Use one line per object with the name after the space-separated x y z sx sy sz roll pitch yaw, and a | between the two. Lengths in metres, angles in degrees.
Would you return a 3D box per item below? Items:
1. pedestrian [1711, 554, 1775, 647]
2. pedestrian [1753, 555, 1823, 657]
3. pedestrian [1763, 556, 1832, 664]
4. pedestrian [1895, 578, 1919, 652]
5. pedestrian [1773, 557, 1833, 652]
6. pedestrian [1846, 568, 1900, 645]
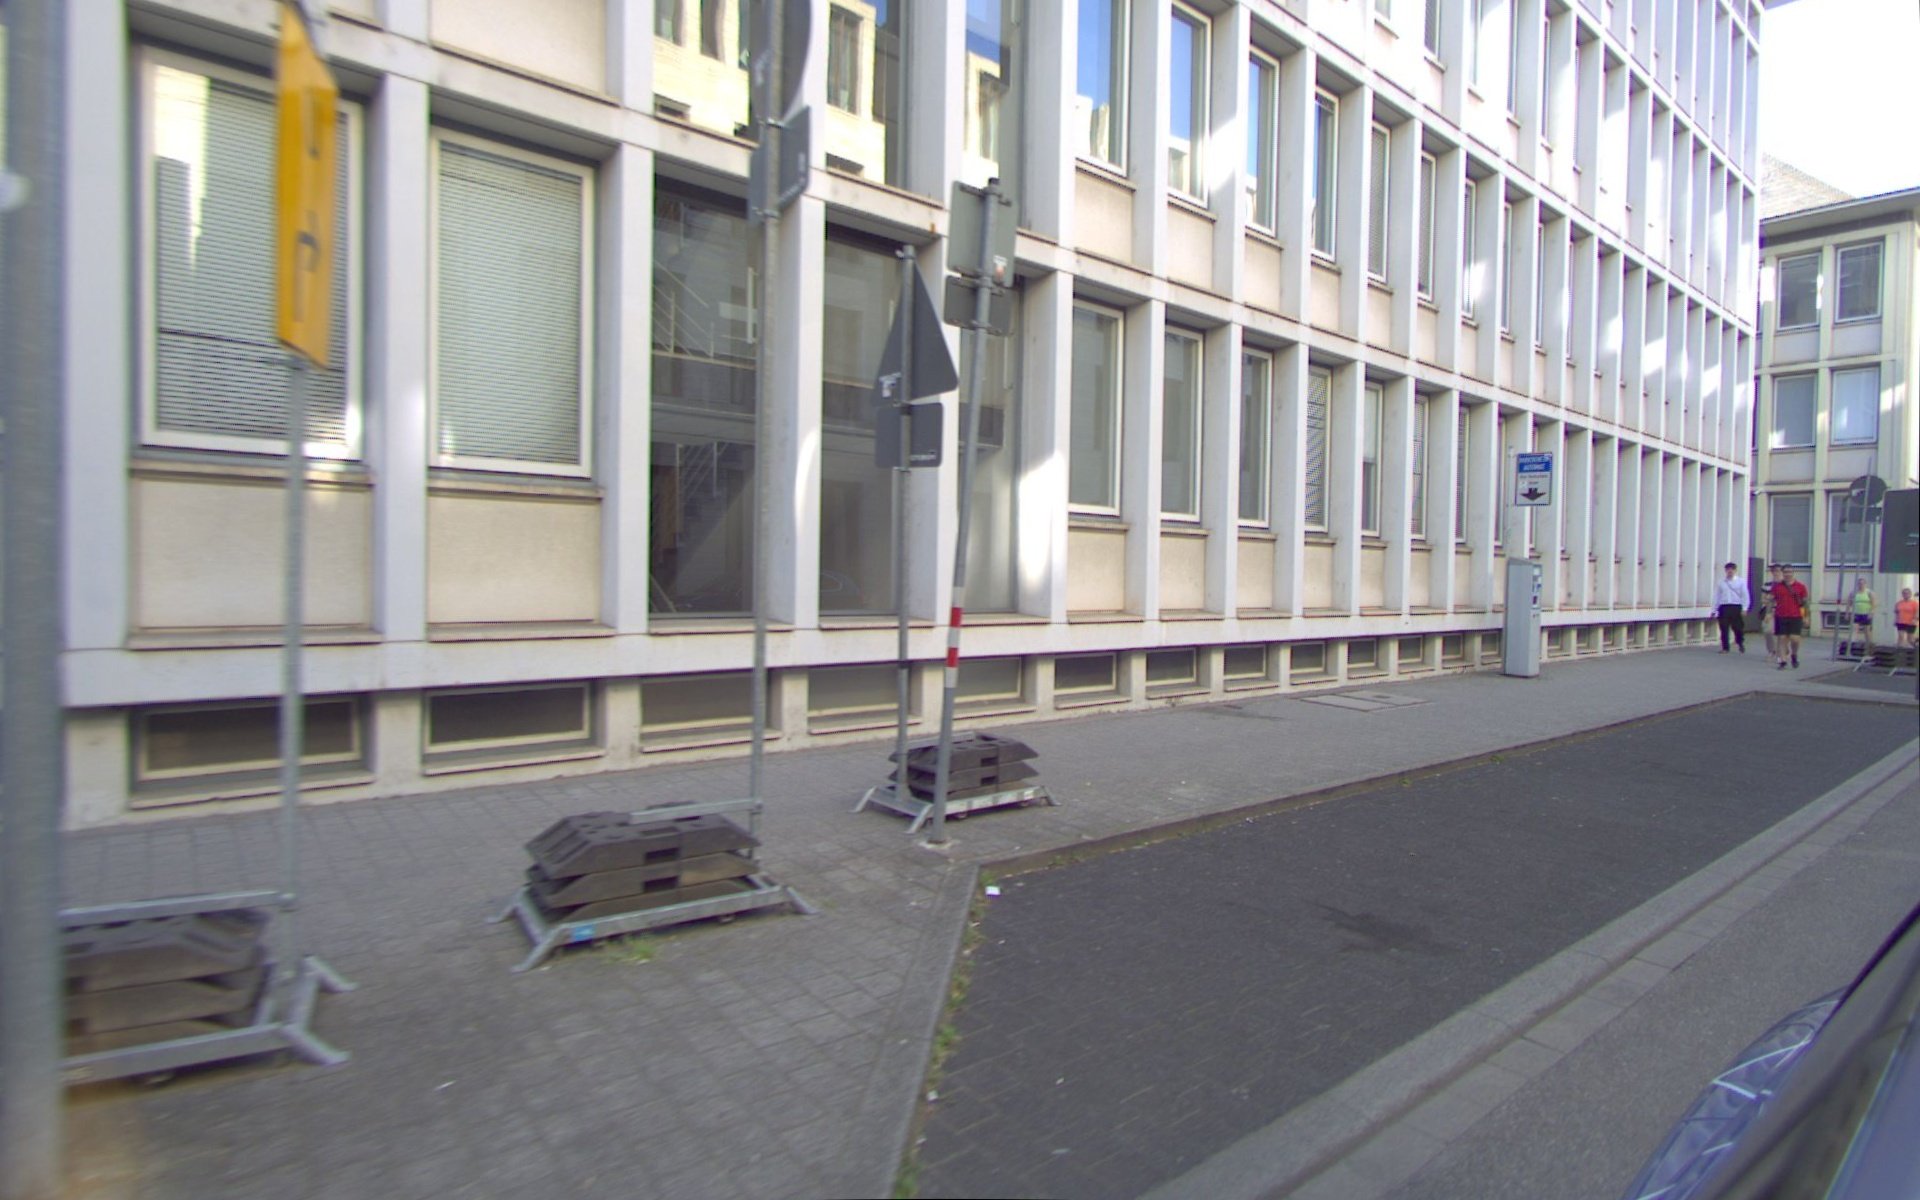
15.971 -0.001 20.648 0.681 1.798 0.686 0 7 -38 | pedestrian
15.505 0.096 18.952 0.681 1.798 0.686 0 7 -38 | pedestrian
14.639 0.164 17.690 0.582 1.799 0.685 0 5 -38 | pedestrian
22.003 0.338 23.145 0.681 1.656 0.685 0 4 -38 | pedestrian
16.578 0.067 19.913 0.681 1.800 0.685 0 3 -38 | pedestrian
21.432 0.147 23.757 0.681 1.735 0.685 0 5 -38 | pedestrian
